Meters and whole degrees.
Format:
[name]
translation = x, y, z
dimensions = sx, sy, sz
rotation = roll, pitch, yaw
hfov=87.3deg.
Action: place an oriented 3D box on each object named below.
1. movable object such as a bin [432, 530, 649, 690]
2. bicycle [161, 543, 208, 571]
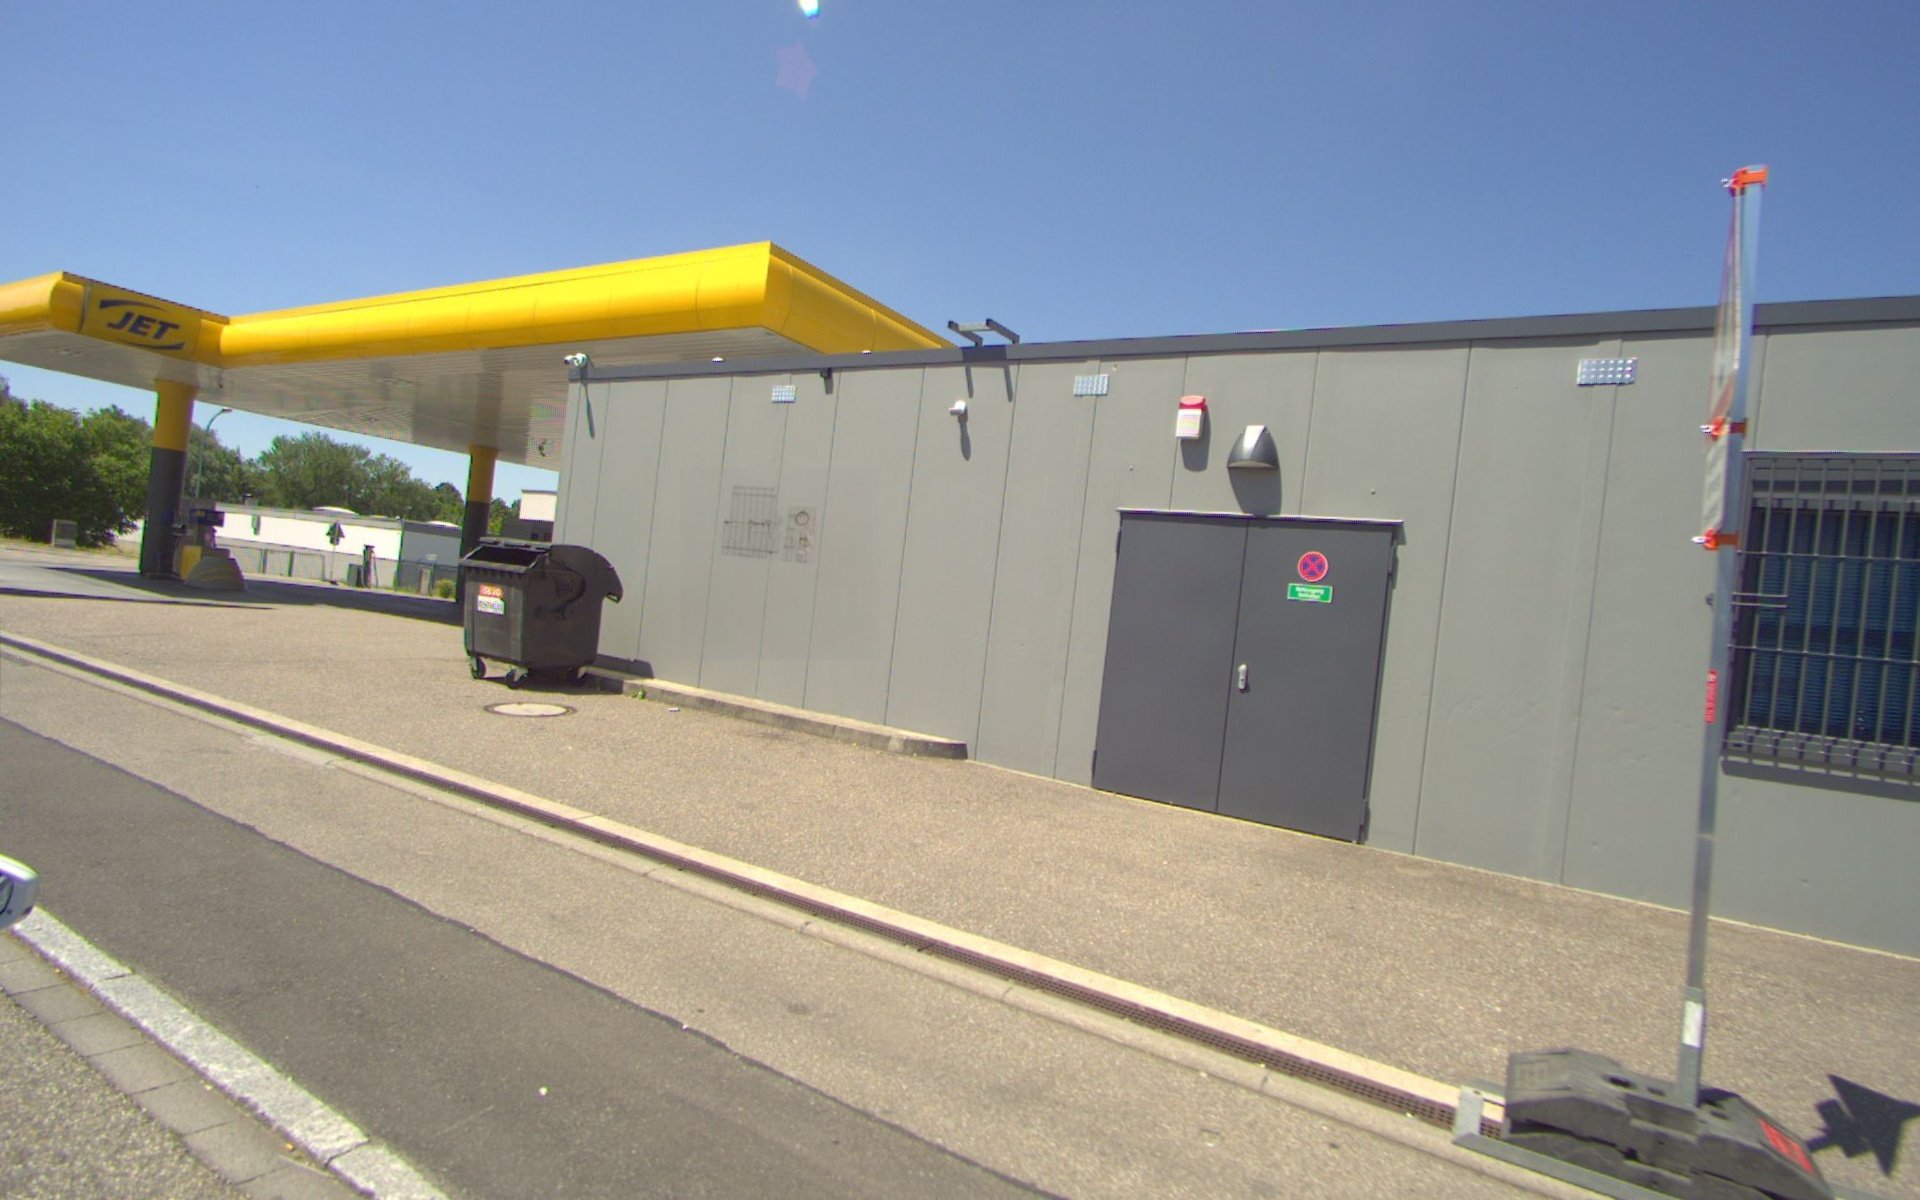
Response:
[movable object such as a bin]
translation = -4.398, 0.117, 10.591
dimensions = 1.443, 1.456, 1.435
rotation = 6, 0, 32
[bicycle]
translation = -38.165, -2.121, 49.543
dimensions = 0.461, 1.110, 1.694
rotation = 6, -2, 37
